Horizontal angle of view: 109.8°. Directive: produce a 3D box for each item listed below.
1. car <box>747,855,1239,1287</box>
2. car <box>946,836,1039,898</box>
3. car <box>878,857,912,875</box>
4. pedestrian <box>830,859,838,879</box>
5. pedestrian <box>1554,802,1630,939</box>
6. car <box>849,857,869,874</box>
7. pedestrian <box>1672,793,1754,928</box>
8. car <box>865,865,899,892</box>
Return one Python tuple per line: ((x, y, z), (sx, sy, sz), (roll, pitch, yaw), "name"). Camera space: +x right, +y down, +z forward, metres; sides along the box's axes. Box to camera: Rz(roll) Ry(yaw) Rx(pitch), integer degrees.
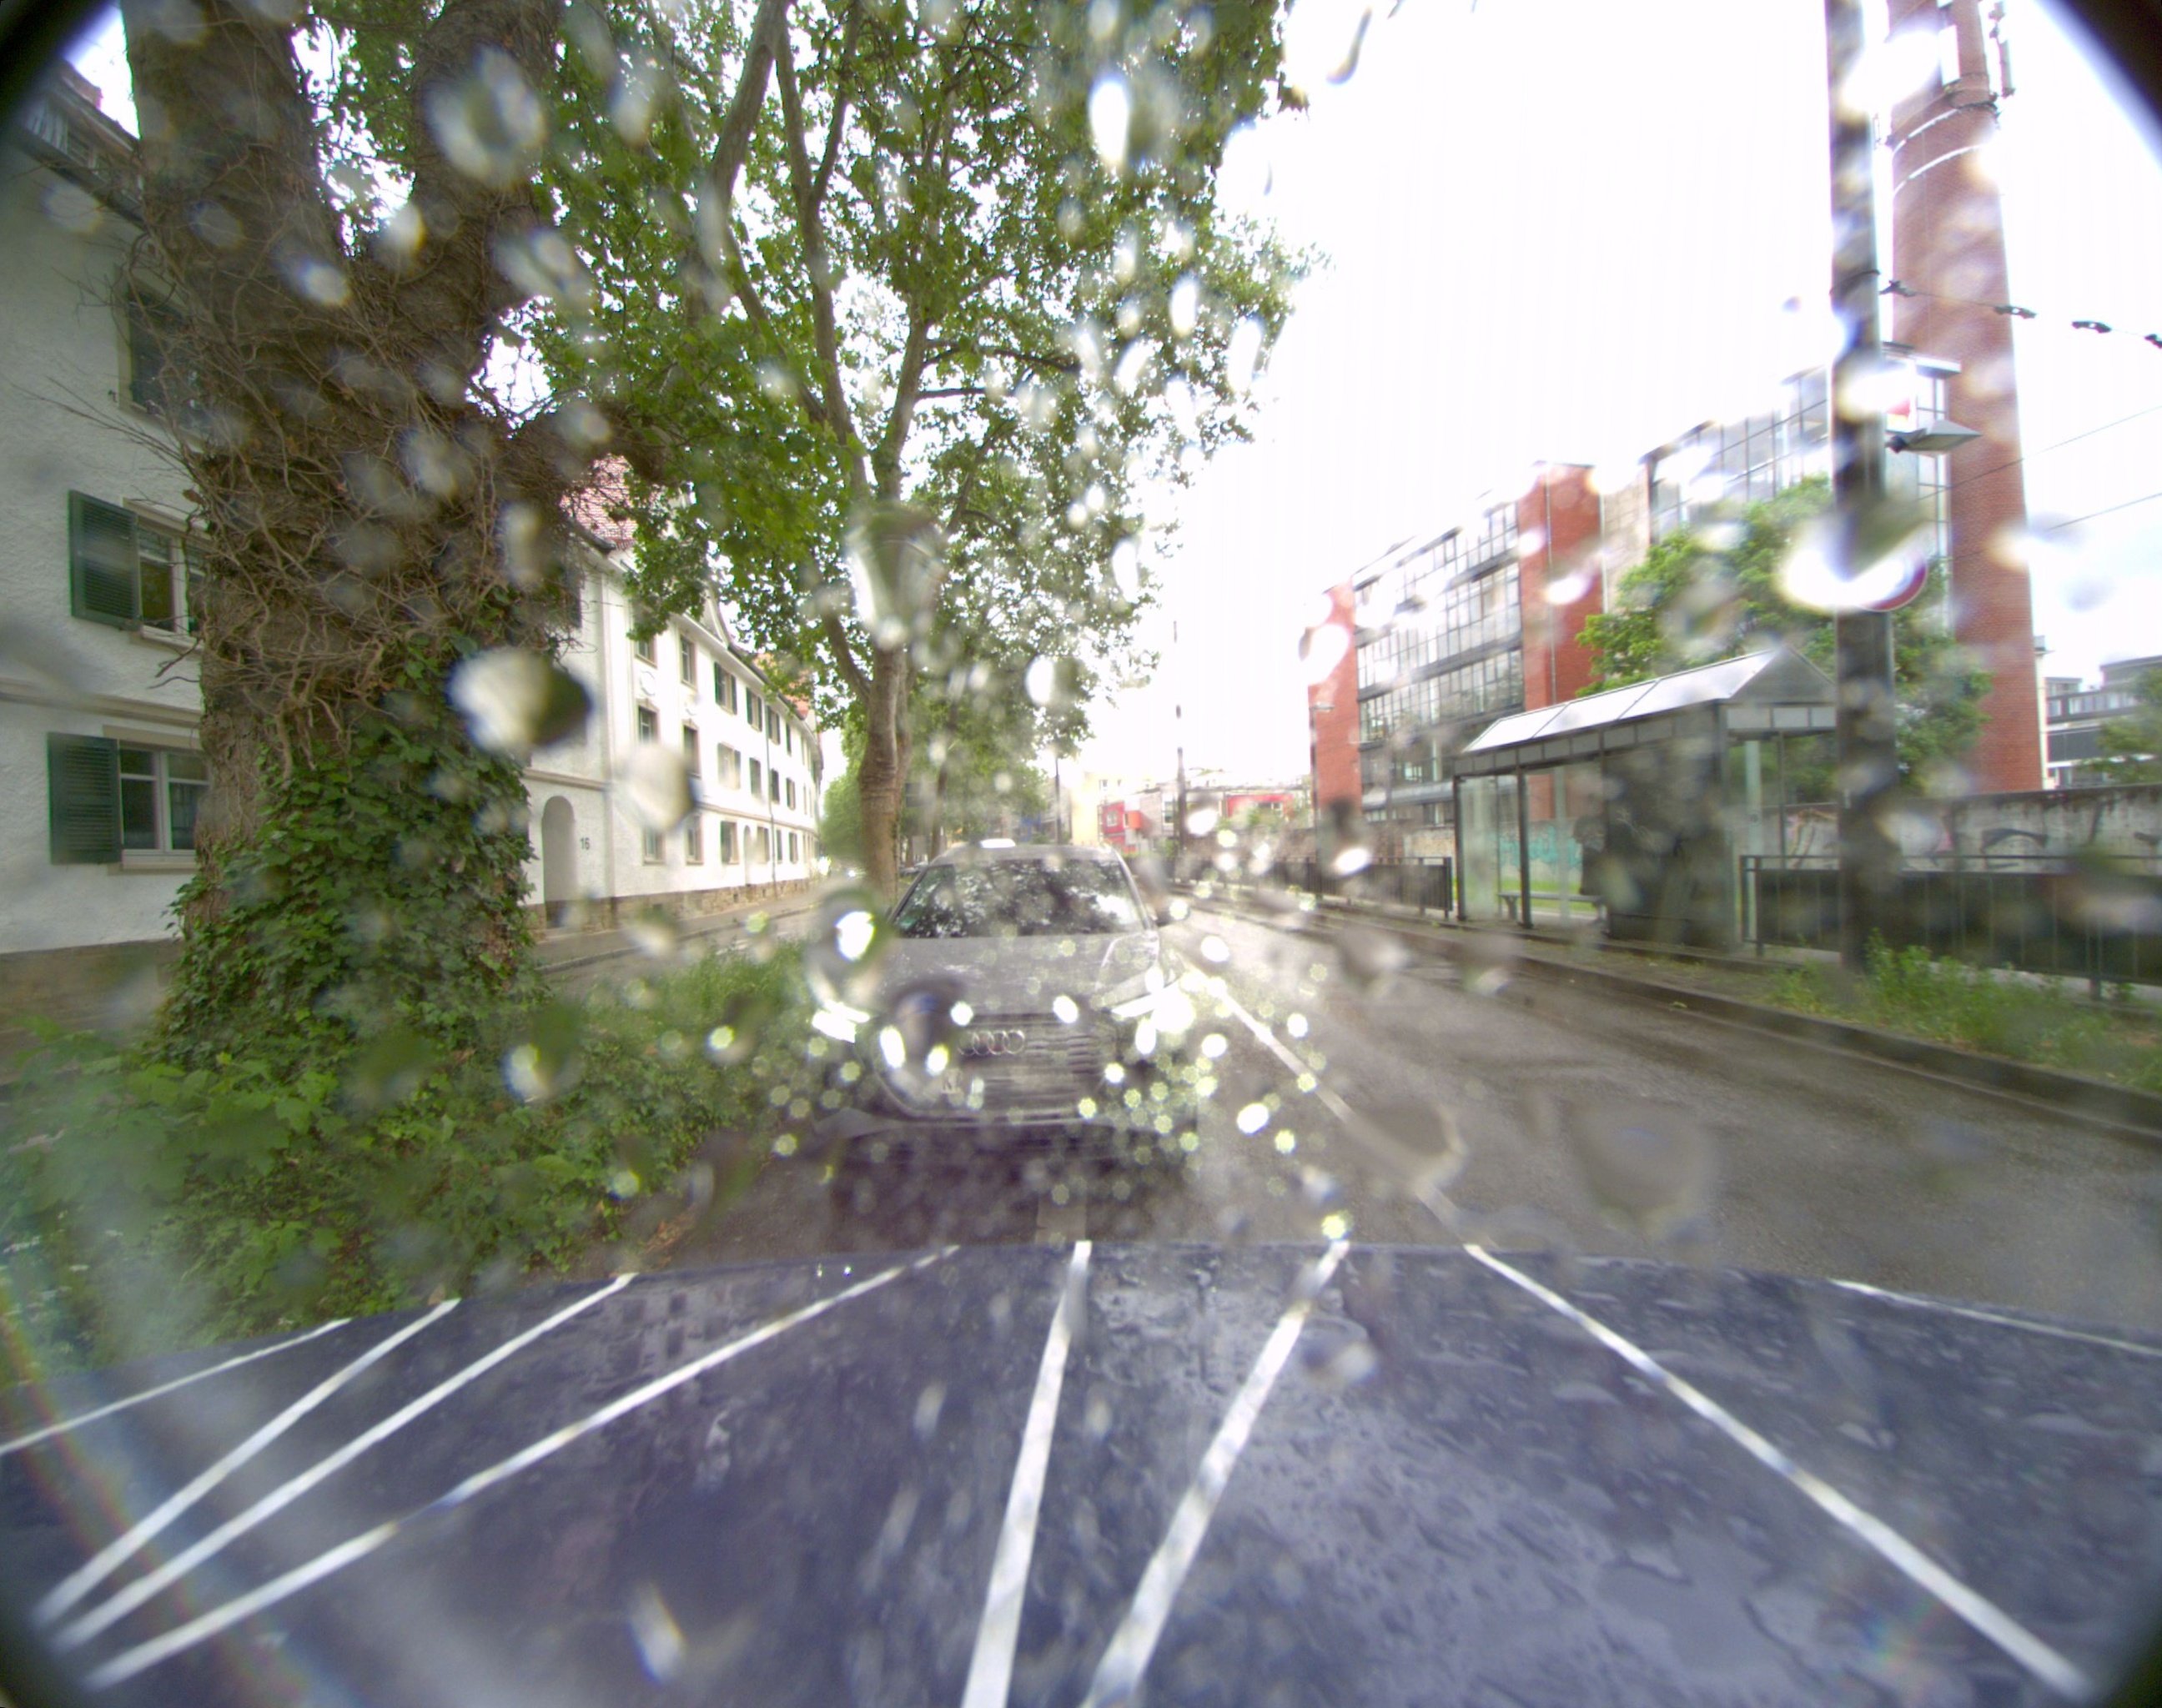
((-0.407, 0.873, 5.120), (1.917, 1.632, 4.106), (-2, 0, -2), "car")
((-3.747, 0.528, 31.258), (2.199, 2.250, 5.401), (-3, 0, -24), "car")
((-23.196, 1.498, 94.661), (4.002, 2.002, 1.997), (-2, 0, -17), "car")
((-22.832, 1.358, 70.201), (0.674, 1.811, 0.678), (-3, 1, -18), "pedestrian")
((6.740, 0.217, 10.044), (0.629, 1.738, 0.564), (-2, 1, 9), "pedestrian")
((-27.645, 1.470, 94.581), (2.002, 2.001, 3.993), (3, -1, -20), "car")
((7.790, 0.070, 9.363), (0.716, 1.594, 0.494), (-3, 1, -25), "pedestrian")
((-12.546, 1.518, 48.047), (1.833, 1.517, 3.995), (-2, 1, -12), "car")
